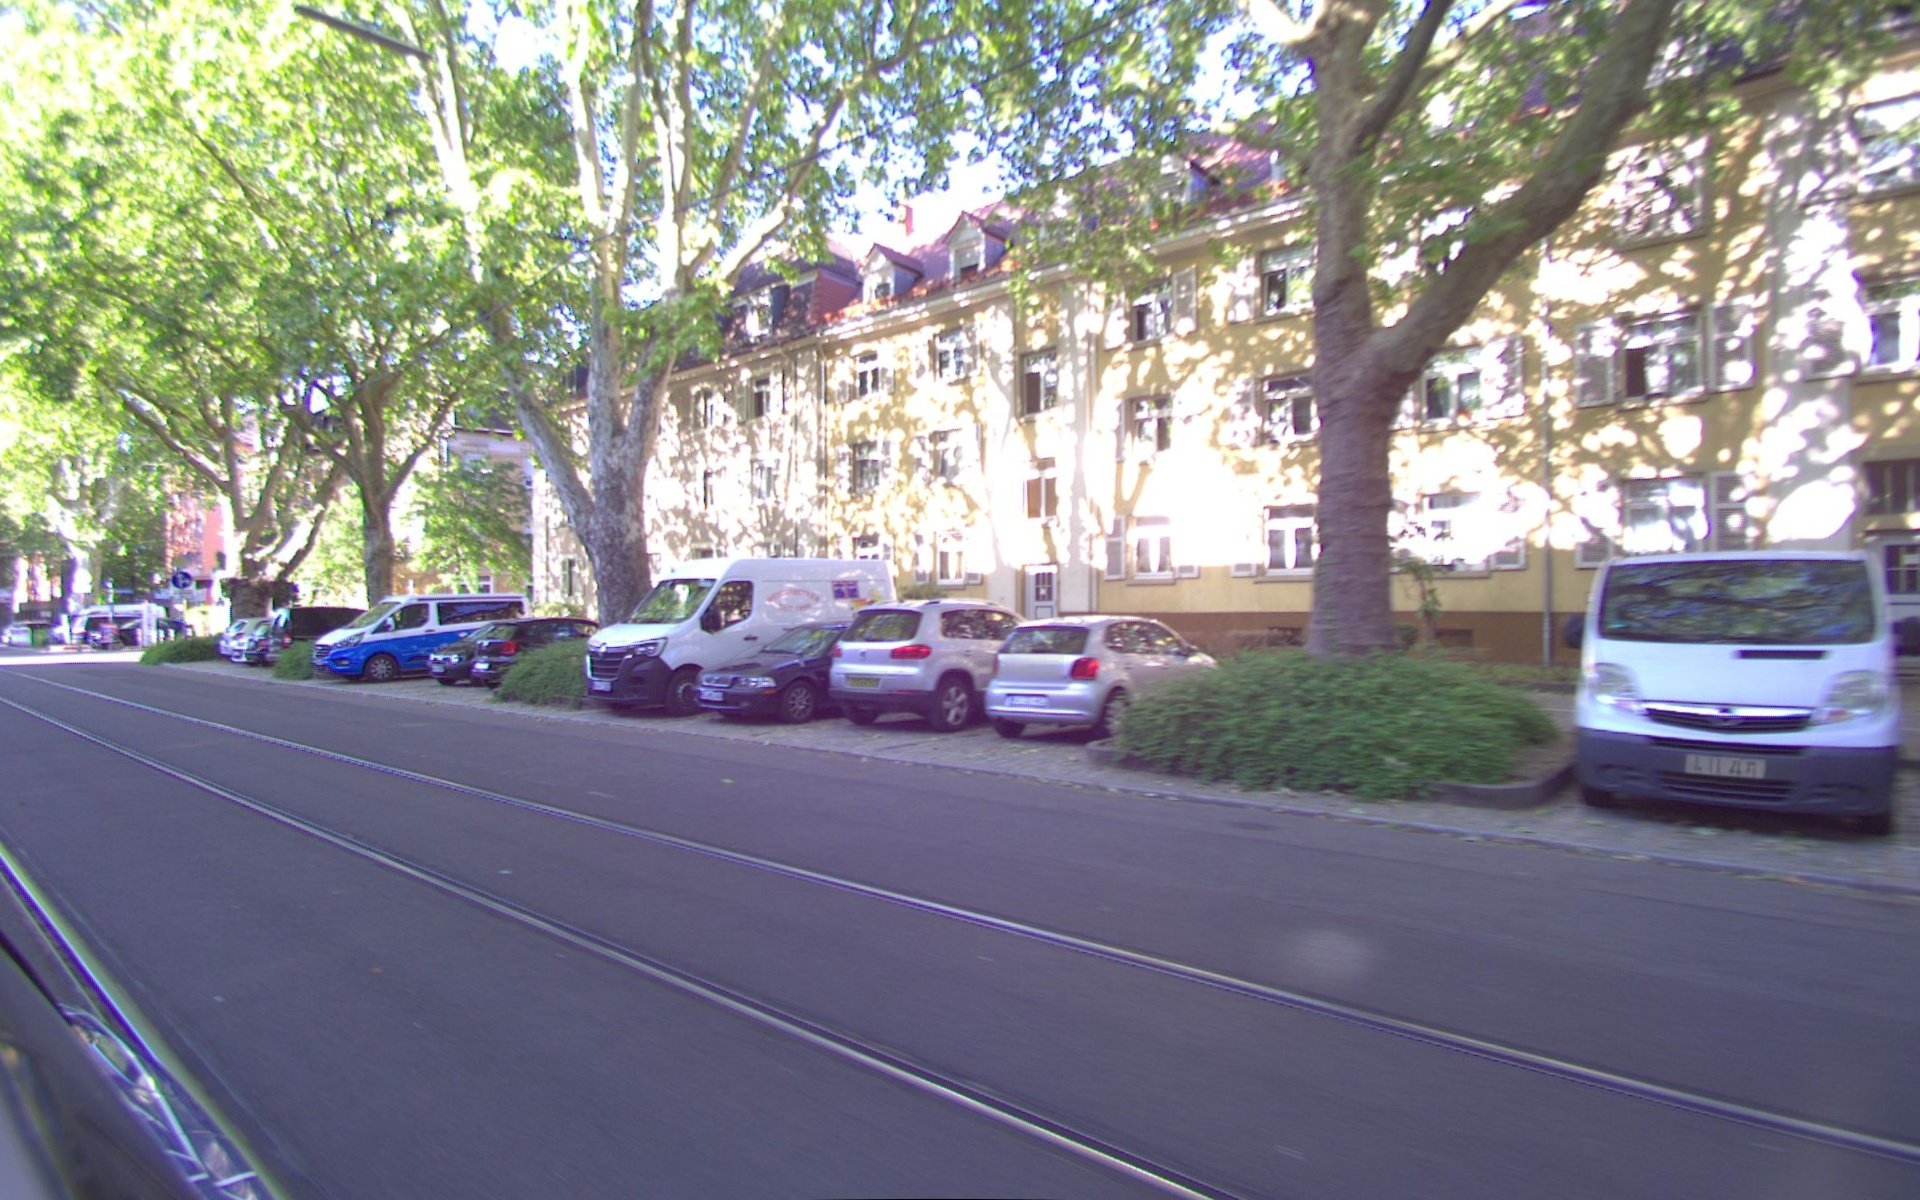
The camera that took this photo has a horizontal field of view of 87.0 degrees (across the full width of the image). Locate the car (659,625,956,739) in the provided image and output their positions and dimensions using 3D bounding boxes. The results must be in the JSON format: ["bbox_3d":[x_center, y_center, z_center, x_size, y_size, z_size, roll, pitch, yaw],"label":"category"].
[{"bbox_3d":[-2.099,1.089,14.931,1.752,1.409,4.219,-2,-2,41],"label":"car"}]

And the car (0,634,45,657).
[{"bbox_3d":[-69.719,3.351,73.998,1.809,1.527,3.917,-2,-1,39],"label":"car"}]

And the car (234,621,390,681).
[{"bbox_3d":[-19.819,1.509,31.055,1.796,1.636,3.649,-1,-1,36],"label":"car"}]

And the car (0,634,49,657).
[{"bbox_3d":[-67.983,3.262,72.451,1.809,1.527,3.917,-2,-1,39],"label":"car"}]

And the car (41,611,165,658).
[{"bbox_3d":[-47.277,1.854,55.897,2.026,2.416,4.956,-2,-1,39],"label":"car"}]

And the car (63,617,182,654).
[{"bbox_3d":[-42.915,1.798,51.919,2.026,1.779,4.408,-2,-1,39],"label":"car"}]

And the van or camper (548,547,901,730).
[{"bbox_3d":[-3.721,0.545,16.908,2.443,2.535,5.334,-1,-1,40],"label":"van or camper"}]

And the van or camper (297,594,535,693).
[{"bbox_3d":[-13.371,0.989,25.109,2.118,2.206,4.770,-1,-1,40],"label":"van or camper"}]

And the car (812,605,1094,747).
[{"bbox_3d":[0.015,0.938,14.003,1.861,1.675,3.807,-2,-2,41],"label":"car"}]

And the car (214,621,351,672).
[{"bbox_3d":[-22.963,1.531,34.384,3.638,1.565,1.705,0,-1,-44],"label":"car"}]

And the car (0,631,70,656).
[{"bbox_3d":[-61.973,2.915,67.339,1.809,1.527,3.917,-2,-1,39],"label":"car"}]

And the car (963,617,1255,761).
[{"bbox_3d":[1.985,0.977,12.687,1.861,1.509,3.807,-2,-2,41],"label":"car"}]

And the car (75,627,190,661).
[{"bbox_3d":[-40.937,2.165,50.133,1.924,1.527,4.118,-2,-1,39],"label":"car"}]

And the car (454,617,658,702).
[{"bbox_3d":[-8.411,1.177,21.269,1.613,1.577,3.642,-1,-1,42],"label":"car"}]

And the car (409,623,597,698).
[{"bbox_3d":[-10.207,1.298,22.804,1.692,1.471,3.500,-1,-1,34],"label":"car"}]

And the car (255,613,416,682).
[{"bbox_3d":[-18.110,1.334,29.445,1.703,1.828,3.644,-1,-1,40],"label":"car"}]

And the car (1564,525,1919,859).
[{"bbox_3d":[6.403,0.548,8.264,1.959,1.960,4.613,-1,-1,38],"label":"car"}]

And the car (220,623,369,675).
[{"bbox_3d":[-21.342,1.532,32.570,1.698,1.497,3.651,-1,-1,34],"label":"car"}]
